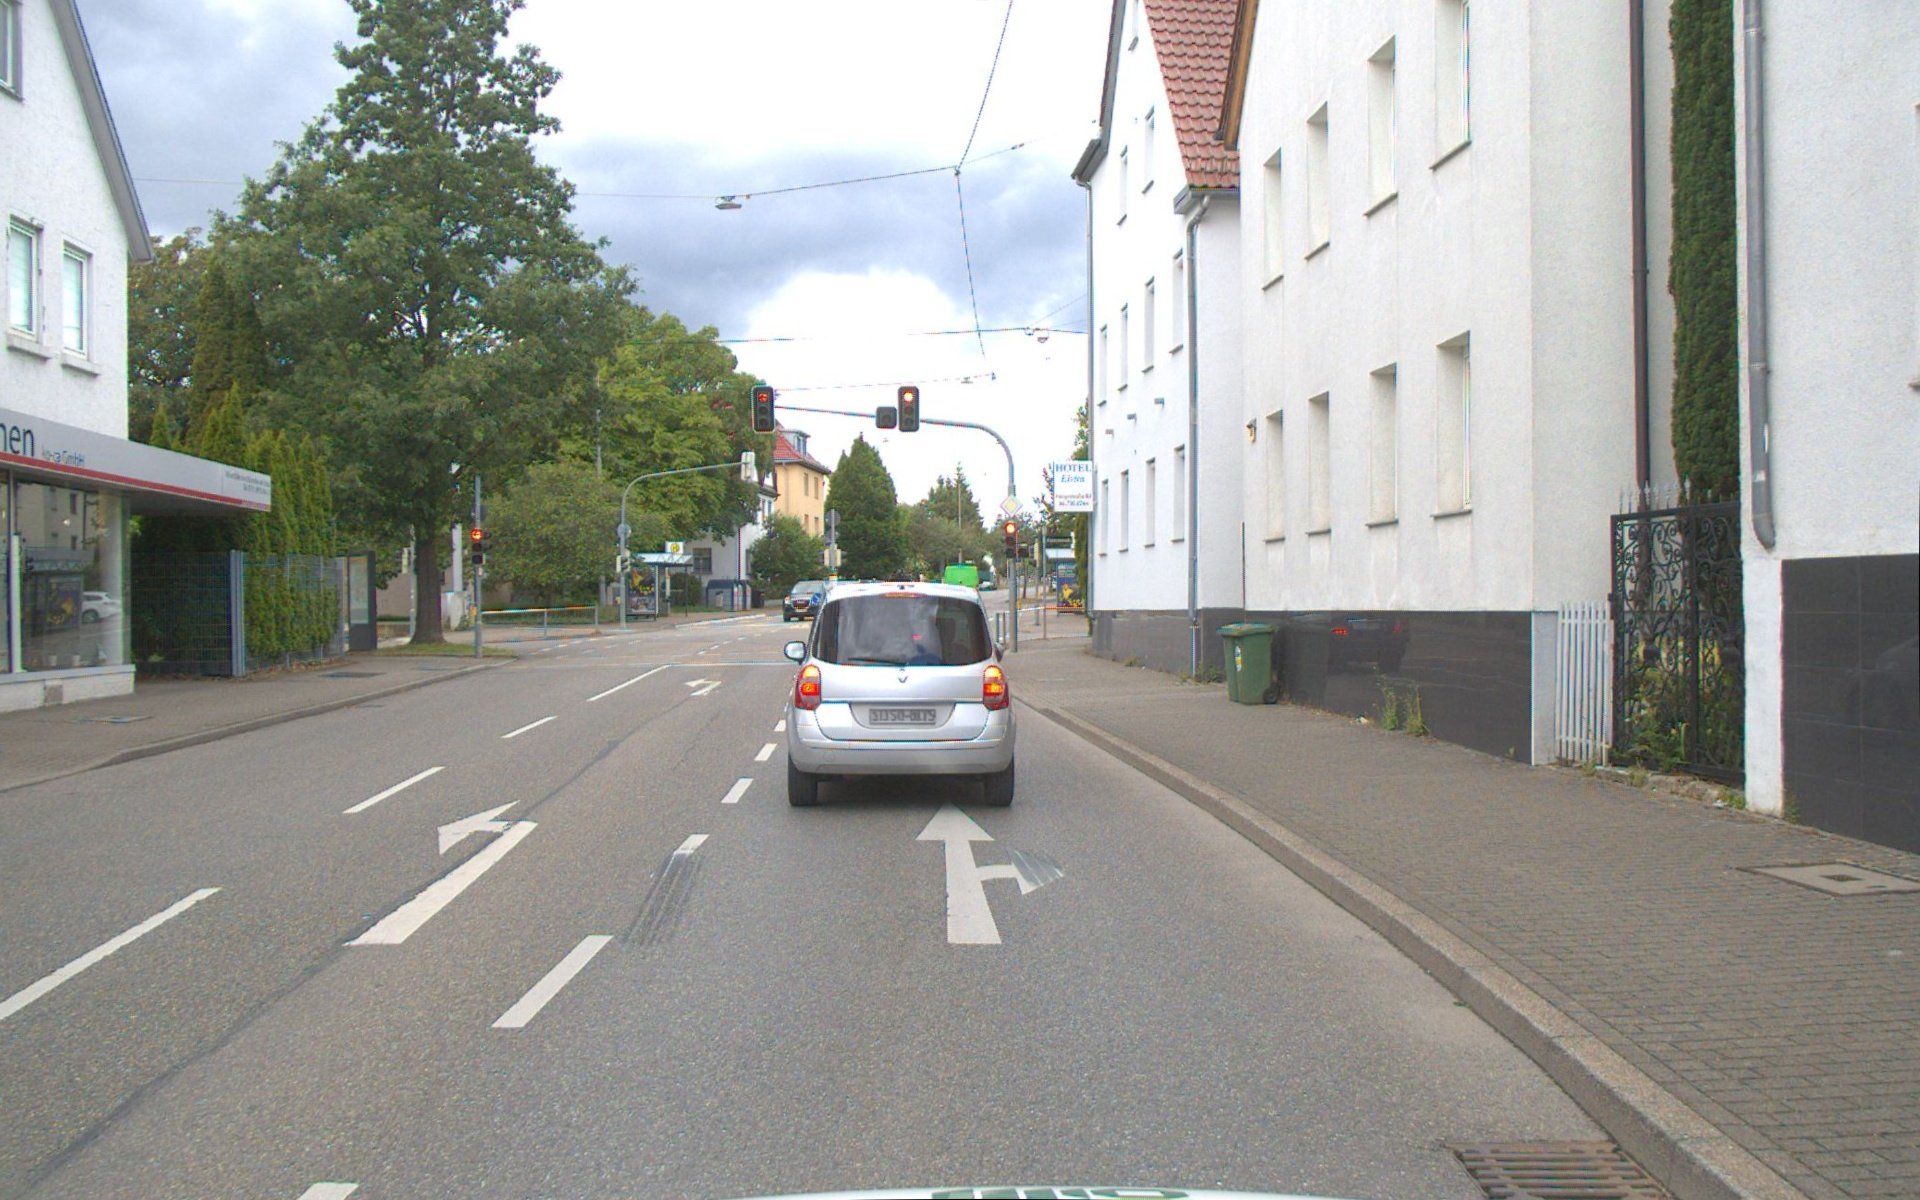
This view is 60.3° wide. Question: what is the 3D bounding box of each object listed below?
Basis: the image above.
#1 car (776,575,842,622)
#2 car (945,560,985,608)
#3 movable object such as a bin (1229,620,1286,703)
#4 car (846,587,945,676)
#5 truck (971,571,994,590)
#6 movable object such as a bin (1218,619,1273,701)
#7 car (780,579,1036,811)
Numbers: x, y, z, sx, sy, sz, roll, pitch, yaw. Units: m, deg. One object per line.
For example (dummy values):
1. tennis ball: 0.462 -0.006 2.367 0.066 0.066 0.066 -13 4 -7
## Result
1. car: -6.448 -0.078 71.127 1.885 1.804 4.003 -4 0 7
2. car: 0.306 -0.846 91.548 2.016 2.556 5.597 0 0 2
3. movable object such as a bin: 3.557 0.728 19.778 0.529 0.957 0.487 -3 0 -3
4. car: -1.245 0.548 30.818 1.720 1.557 3.794 0 0 -4
5. truck: 2.502 -2.143 184.129 2.057 2.049 5.751 0 0 6
6. movable object such as a bin: 3.503 0.728 20.311 0.529 0.957 0.487 -3 0 -3
7. car: -0.469 0.640 13.133 1.720 1.557 3.997 0 0 -4
